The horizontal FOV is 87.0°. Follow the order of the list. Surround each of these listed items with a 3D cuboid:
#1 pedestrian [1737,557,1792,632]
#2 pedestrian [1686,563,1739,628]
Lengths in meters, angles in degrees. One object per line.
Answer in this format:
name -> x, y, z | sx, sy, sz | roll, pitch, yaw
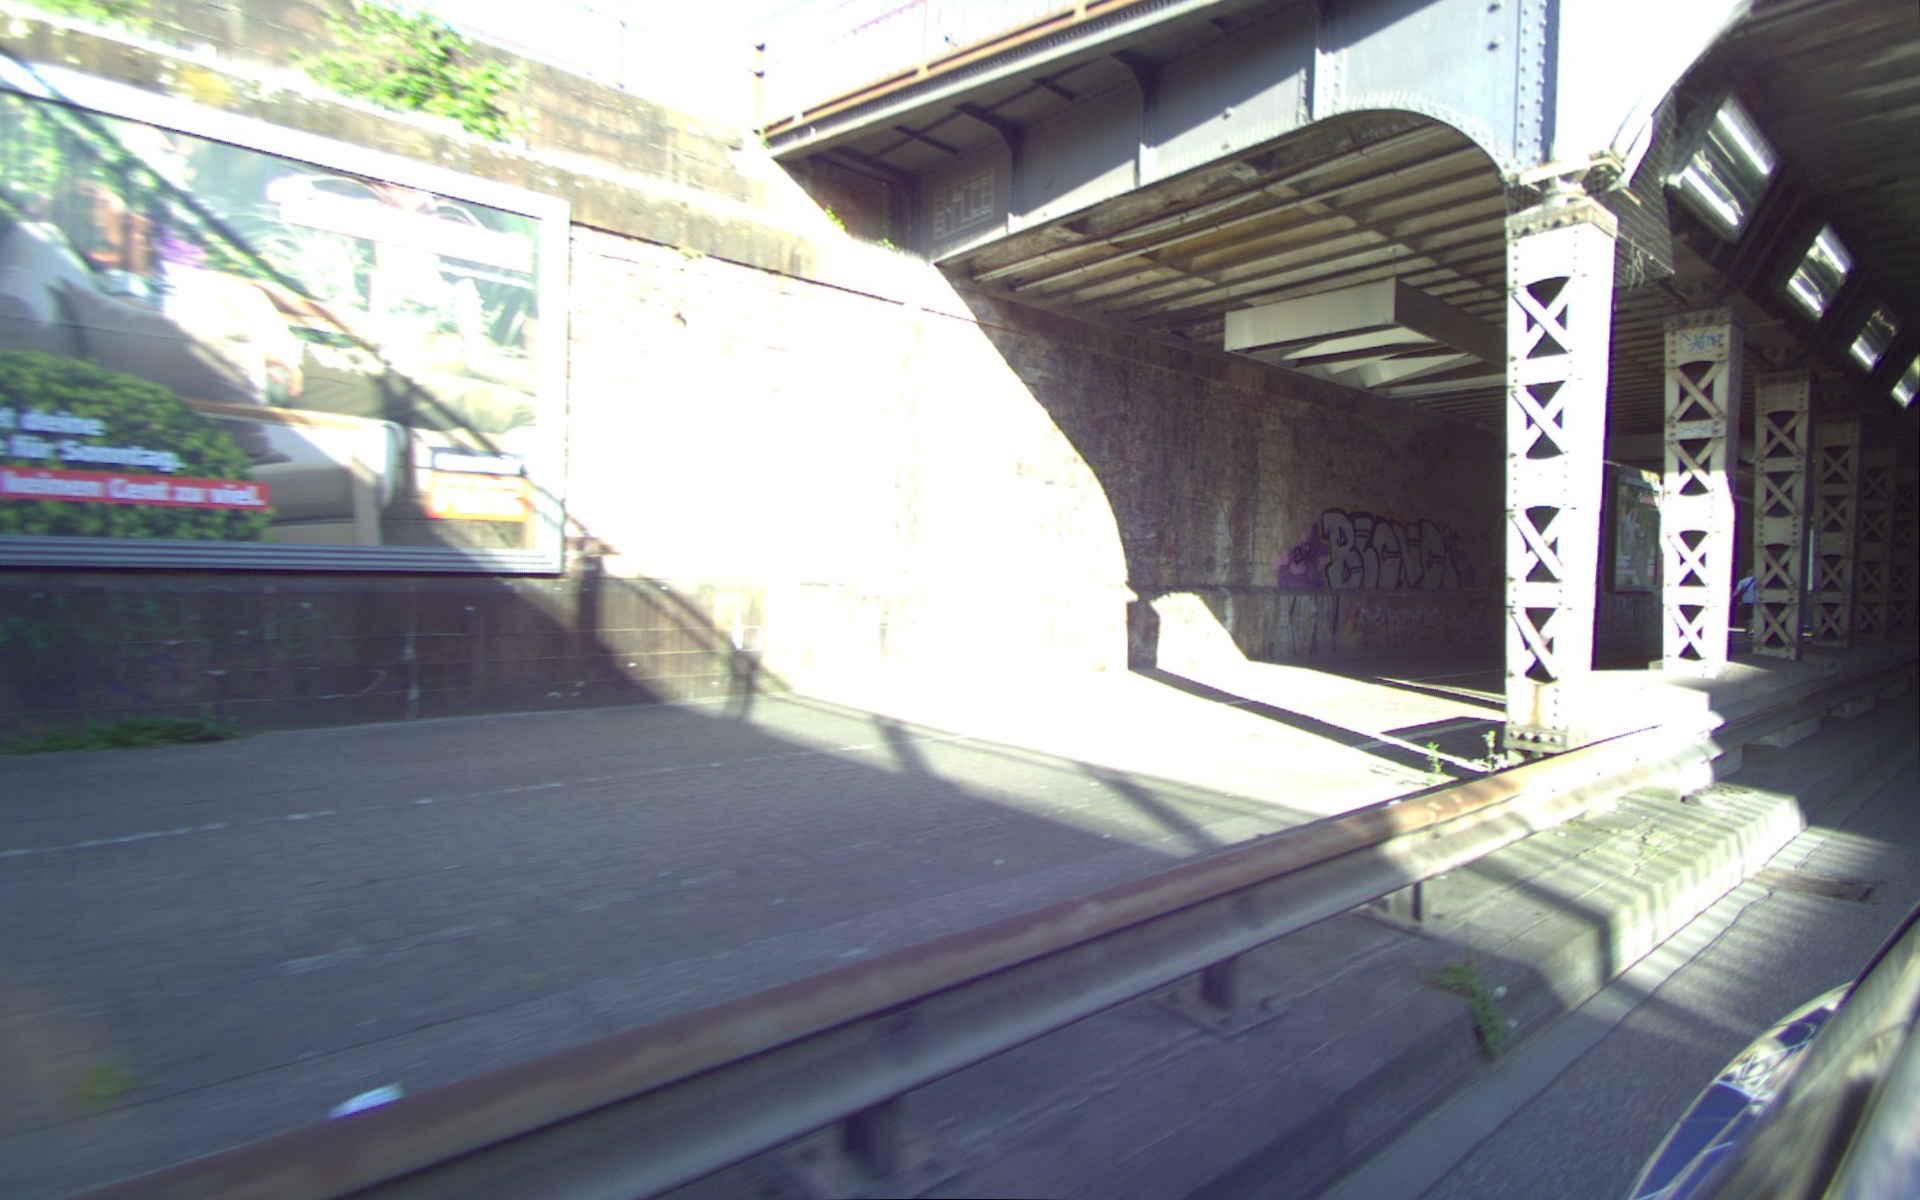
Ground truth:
pedestrian -> 20.900, -0.145, 26.287 | 0.907, 1.857, 0.881 | 0, 4, -44
pedestrian -> 20.442, -0.144, 27.481 | 0.872, 1.676, 0.918 | 0, 4, -44
